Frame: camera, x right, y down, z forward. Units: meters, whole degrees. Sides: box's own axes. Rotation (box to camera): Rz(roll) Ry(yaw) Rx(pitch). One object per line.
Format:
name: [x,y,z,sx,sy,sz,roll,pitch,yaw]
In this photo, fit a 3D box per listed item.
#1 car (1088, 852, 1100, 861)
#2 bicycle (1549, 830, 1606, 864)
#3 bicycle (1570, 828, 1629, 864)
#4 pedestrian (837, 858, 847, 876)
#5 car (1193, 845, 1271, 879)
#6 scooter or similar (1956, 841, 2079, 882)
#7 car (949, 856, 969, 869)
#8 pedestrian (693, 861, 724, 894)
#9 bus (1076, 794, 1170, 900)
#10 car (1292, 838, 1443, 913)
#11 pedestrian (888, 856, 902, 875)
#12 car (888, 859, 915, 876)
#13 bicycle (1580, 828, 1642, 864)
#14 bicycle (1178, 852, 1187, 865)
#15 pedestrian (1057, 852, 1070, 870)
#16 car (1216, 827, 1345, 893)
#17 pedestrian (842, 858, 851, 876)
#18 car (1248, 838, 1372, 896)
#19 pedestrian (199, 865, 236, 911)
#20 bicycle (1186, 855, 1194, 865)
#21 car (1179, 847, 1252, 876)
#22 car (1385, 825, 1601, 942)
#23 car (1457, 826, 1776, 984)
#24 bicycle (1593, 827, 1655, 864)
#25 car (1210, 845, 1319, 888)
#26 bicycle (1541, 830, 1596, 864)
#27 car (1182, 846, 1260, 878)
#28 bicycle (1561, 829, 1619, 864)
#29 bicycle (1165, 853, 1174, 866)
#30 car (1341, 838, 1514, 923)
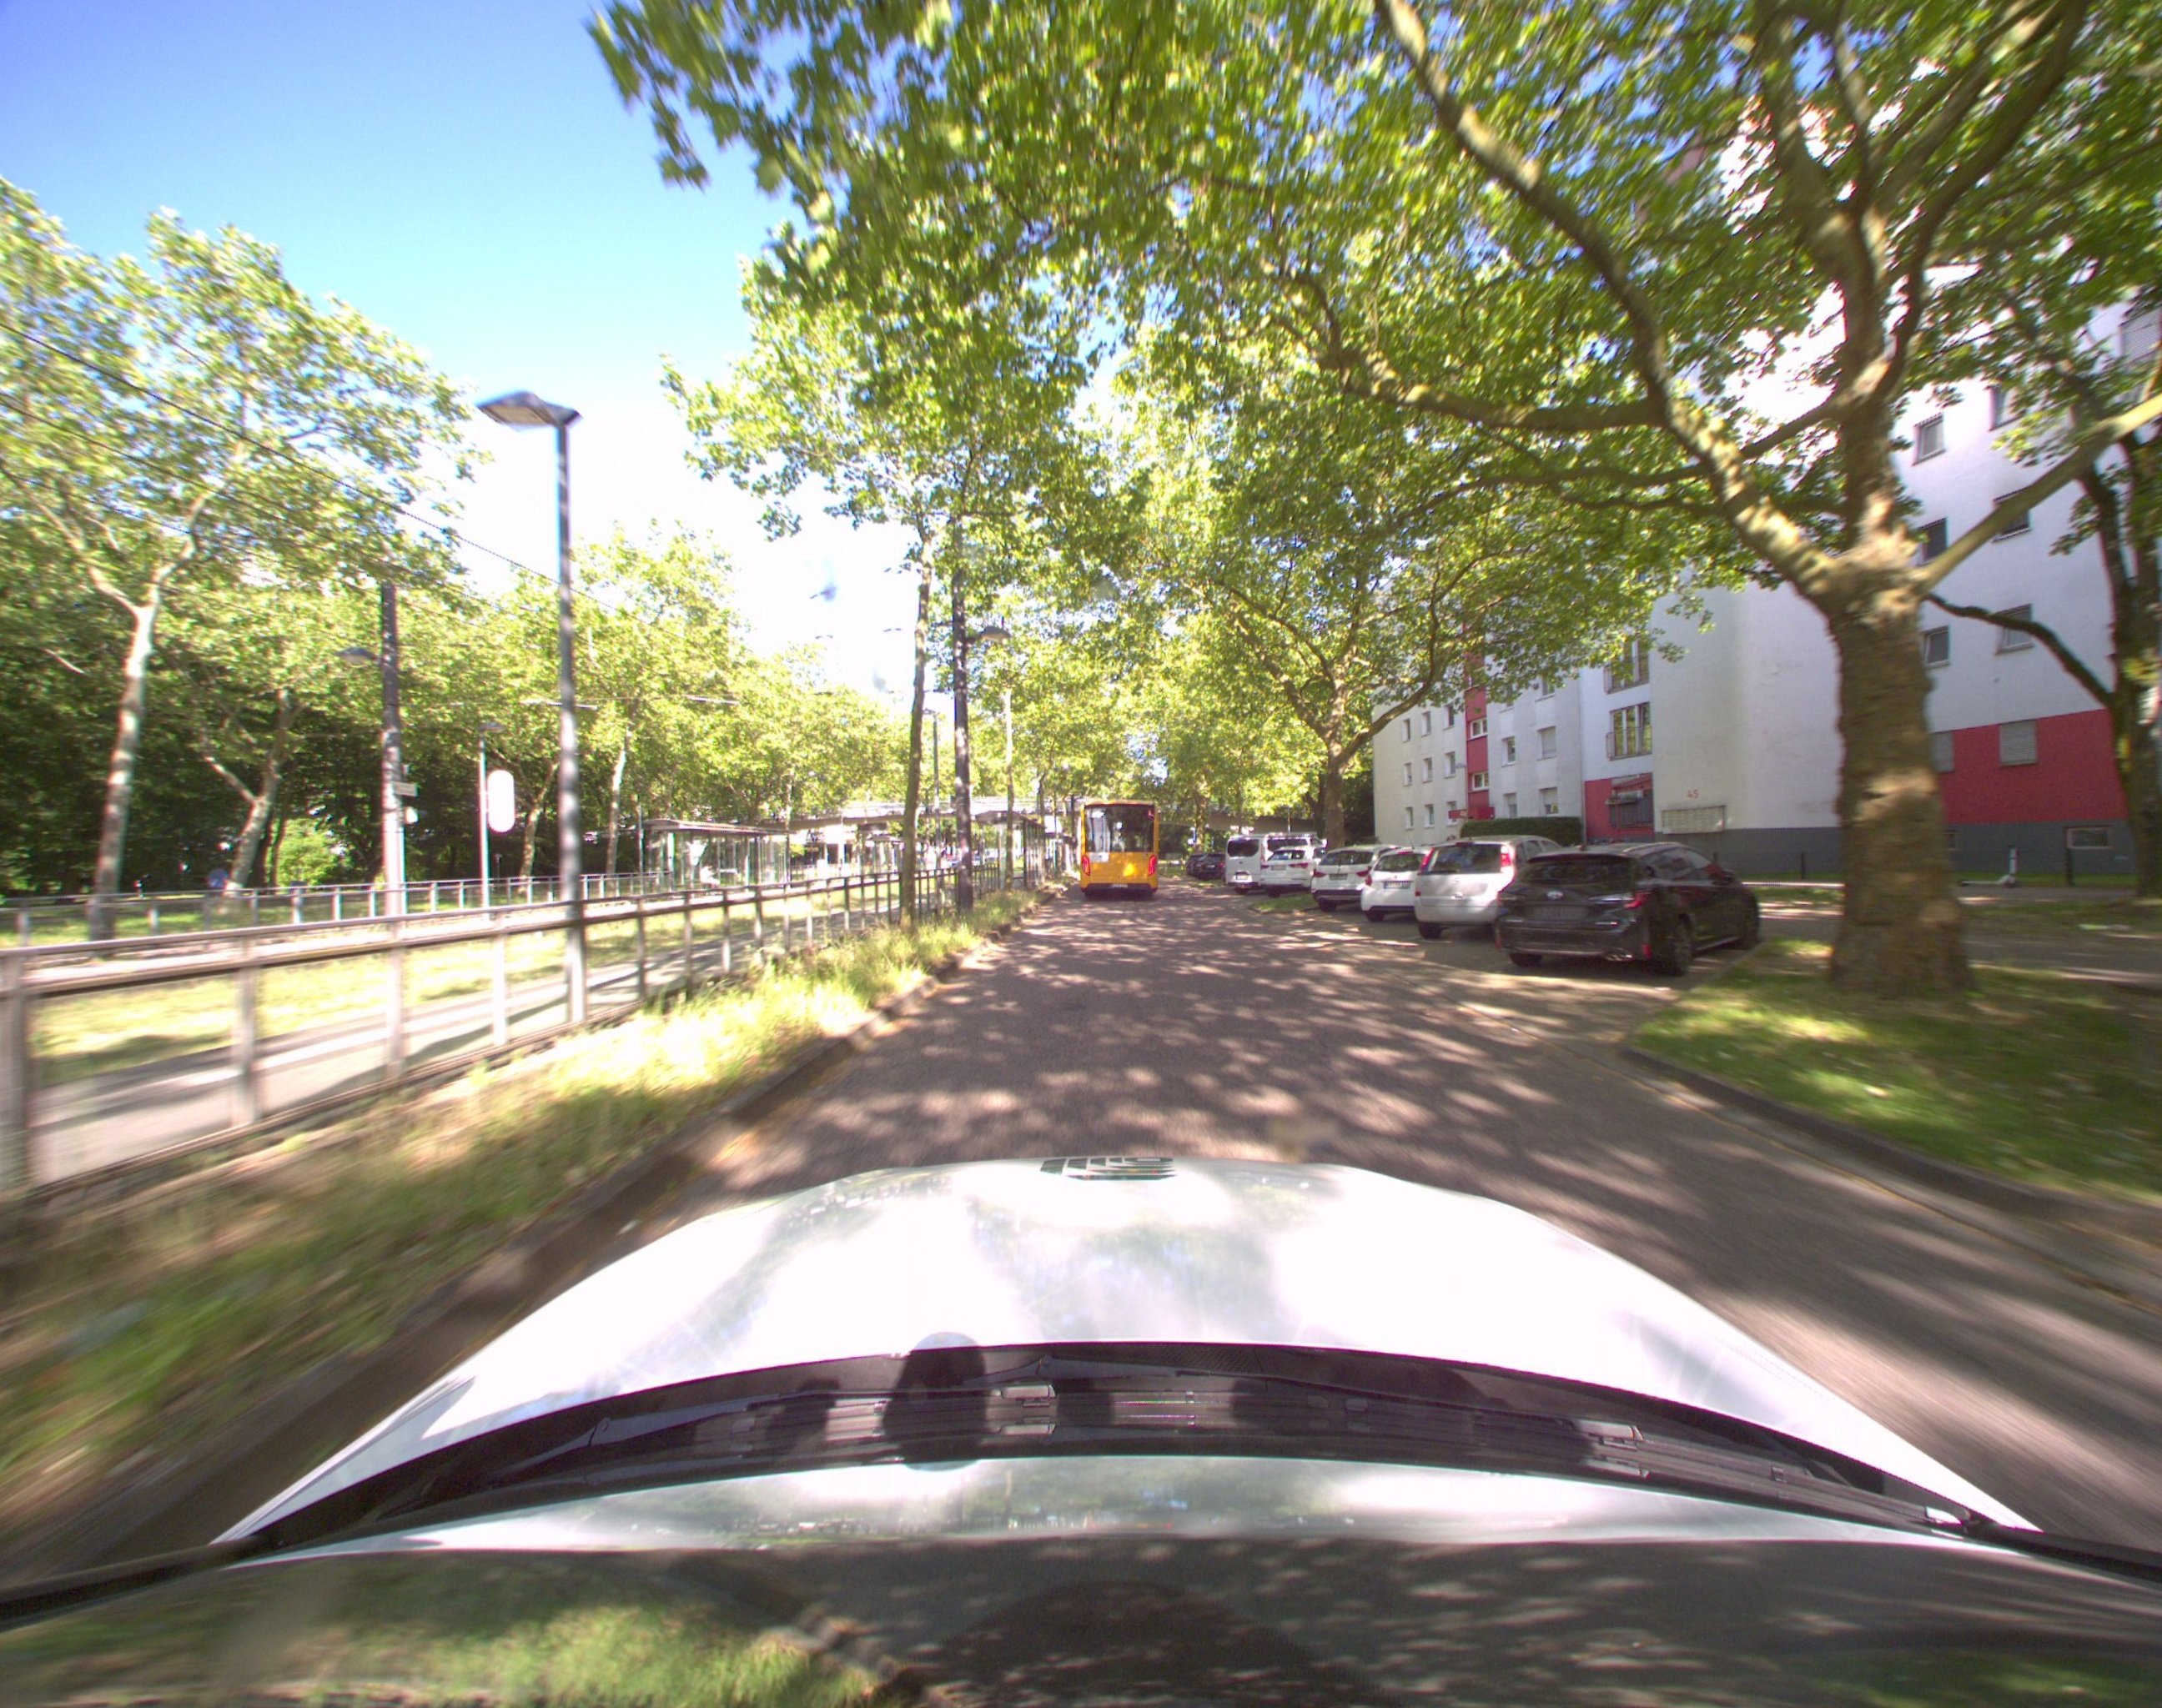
car: [2.495,0.501,155.248,1.978,1.643,4.137,1,1,3]
bicycle: [18.548,-0.266,30.443,1.790,1.129,0.499,-5,0,-4]
bicycle: [18.638,-0.282,29.292,1.790,1.129,0.499,-5,0,-4]
pedestrian: [-21.791,1.184,74.272,0.646,1.661,0.649,-1,0,-3]
car: [7.843,0.416,42.035,4.022,1.468,1.761,-4,0,-41]
scooter or similar: [17.838,0.155,15.542,0.703,0.694,1.370,-3,-1,-23]
car: [-15.917,1.046,106.236,1.787,1.580,4.290,-1,0,2]
pedestrian: [-13.805,0.858,30.169,0.763,1.183,0.763,-1,0,2]
bus: [1.449,-0.219,31.893,2.889,3.266,12.220,-1,0,1]
car: [7.066,0.473,19.837,1.777,1.510,4.238,-4,0,44]
pedestrian: [-12.628,0.797,55.398,0.775,1.238,0.722,-1,0,0]
car: [-17.687,1.324,80.413,1.789,1.566,4.285,-1,0,-1]
bicycle: [18.678,-0.279,28.716,1.790,1.129,0.549,-5,0,-4]
bicycle: [9.587,0.440,76.920,0.588,1.182,1.801,-5,1,1]
pedestrian: [-1.215,0.463,56.087,0.851,1.243,0.851,0,0,3]
car: [7.177,0.176,29.101,4.613,2.052,1.994,-4,0,-39]
pedestrian: [-21.640,1.175,75.057,0.646,1.661,0.649,-1,0,-3]
car: [7.378,0.393,26.093,4.080,1.580,1.811,-4,0,-41]
pedestrian: [-31.723,1.233,29.921,0.645,1.661,0.650,-1,0,3]
bicycle: [10.270,0.547,76.845,0.503,0.852,1.474,-5,1,1]
car: [7.977,0.437,48.088,4.278,1.461,1.779,-4,0,-39]
car: [7.015,0.420,13.701,4.022,1.589,1.778,-4,0,-41]
car: [6.794,0.498,10.161,4.430,1.428,1.929,-4,0,-38]
bicycle: [18.735,-0.280,28.127,1.790,1.129,0.499,-5,0,-4]
car: [7.412,0.487,32.652,4.614,1.423,1.779,-4,0,-40]
bicycle: [18.550,-0.275,30.995,1.790,1.129,0.499,-5,0,-4]
car: [7.788,0.445,45.071,4.278,1.461,1.779,-4,0,-38]
bicycle: [18.656,-0.279,29.873,1.790,1.129,0.499,-5,0,-4]
bicycle: [8.369,0.534,77.002,0.588,1.182,1.801,-5,1,1]
car: [7.283,0.494,16.932,4.023,1.419,1.809,-4,0,-44]
